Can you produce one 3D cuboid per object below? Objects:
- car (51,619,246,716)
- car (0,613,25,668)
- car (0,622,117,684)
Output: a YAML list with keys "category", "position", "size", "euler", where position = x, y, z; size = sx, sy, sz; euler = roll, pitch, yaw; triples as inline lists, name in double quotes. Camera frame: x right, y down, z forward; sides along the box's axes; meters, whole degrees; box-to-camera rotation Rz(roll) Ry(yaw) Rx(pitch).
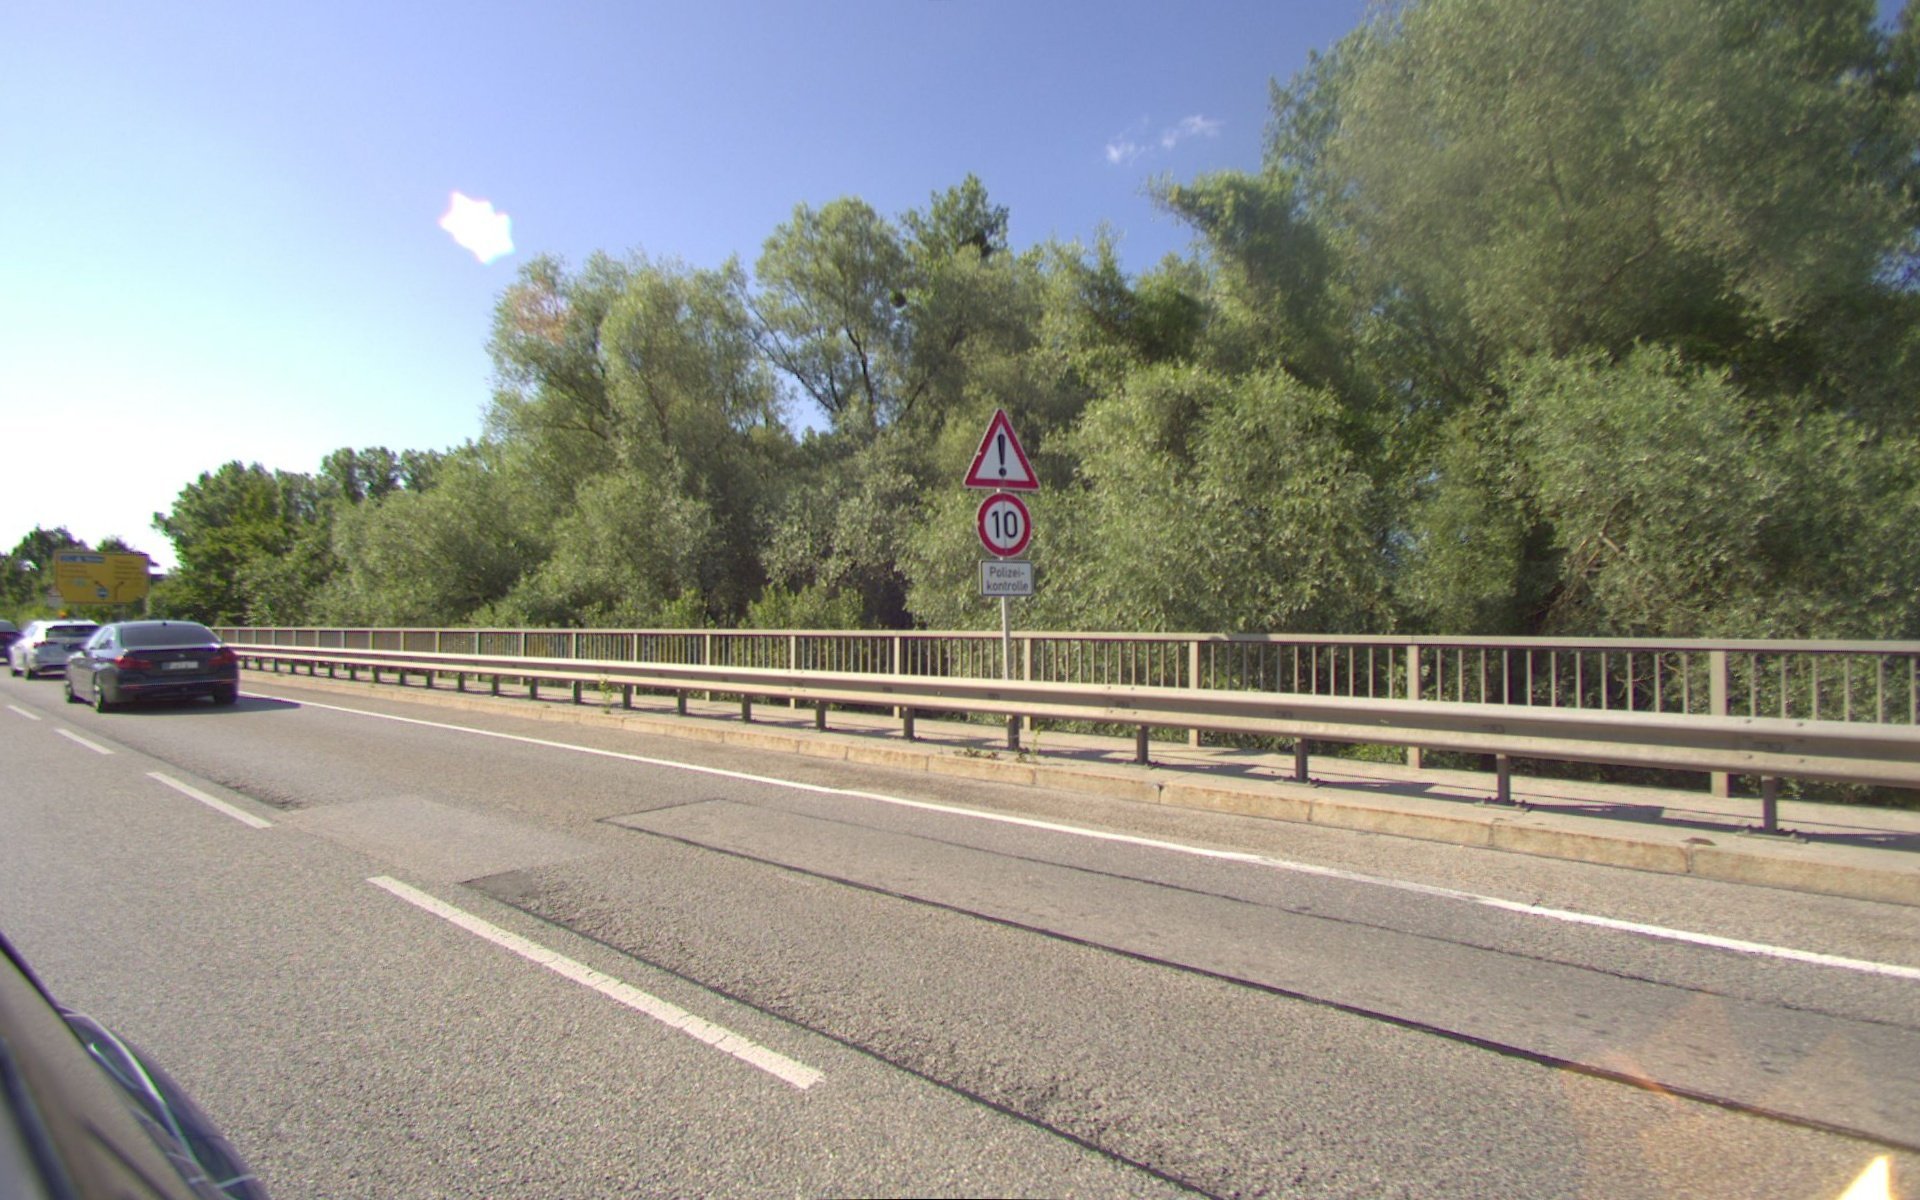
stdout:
- category: "car"
  position: [-14.015, 1.055, 17.381]
  size: [4.648, 1.431, 1.768]
  euler: [-1, -1, 40]
- category: "car"
  position: [-34.342, 1.412, 35.445]
  size: [4.529, 1.820, 1.946]
  euler: [-1, 0, 42]
- category: "car"
  position: [-23.662, 1.321, 26.464]
  size: [4.483, 1.447, 1.714]
  euler: [-1, -1, 40]
